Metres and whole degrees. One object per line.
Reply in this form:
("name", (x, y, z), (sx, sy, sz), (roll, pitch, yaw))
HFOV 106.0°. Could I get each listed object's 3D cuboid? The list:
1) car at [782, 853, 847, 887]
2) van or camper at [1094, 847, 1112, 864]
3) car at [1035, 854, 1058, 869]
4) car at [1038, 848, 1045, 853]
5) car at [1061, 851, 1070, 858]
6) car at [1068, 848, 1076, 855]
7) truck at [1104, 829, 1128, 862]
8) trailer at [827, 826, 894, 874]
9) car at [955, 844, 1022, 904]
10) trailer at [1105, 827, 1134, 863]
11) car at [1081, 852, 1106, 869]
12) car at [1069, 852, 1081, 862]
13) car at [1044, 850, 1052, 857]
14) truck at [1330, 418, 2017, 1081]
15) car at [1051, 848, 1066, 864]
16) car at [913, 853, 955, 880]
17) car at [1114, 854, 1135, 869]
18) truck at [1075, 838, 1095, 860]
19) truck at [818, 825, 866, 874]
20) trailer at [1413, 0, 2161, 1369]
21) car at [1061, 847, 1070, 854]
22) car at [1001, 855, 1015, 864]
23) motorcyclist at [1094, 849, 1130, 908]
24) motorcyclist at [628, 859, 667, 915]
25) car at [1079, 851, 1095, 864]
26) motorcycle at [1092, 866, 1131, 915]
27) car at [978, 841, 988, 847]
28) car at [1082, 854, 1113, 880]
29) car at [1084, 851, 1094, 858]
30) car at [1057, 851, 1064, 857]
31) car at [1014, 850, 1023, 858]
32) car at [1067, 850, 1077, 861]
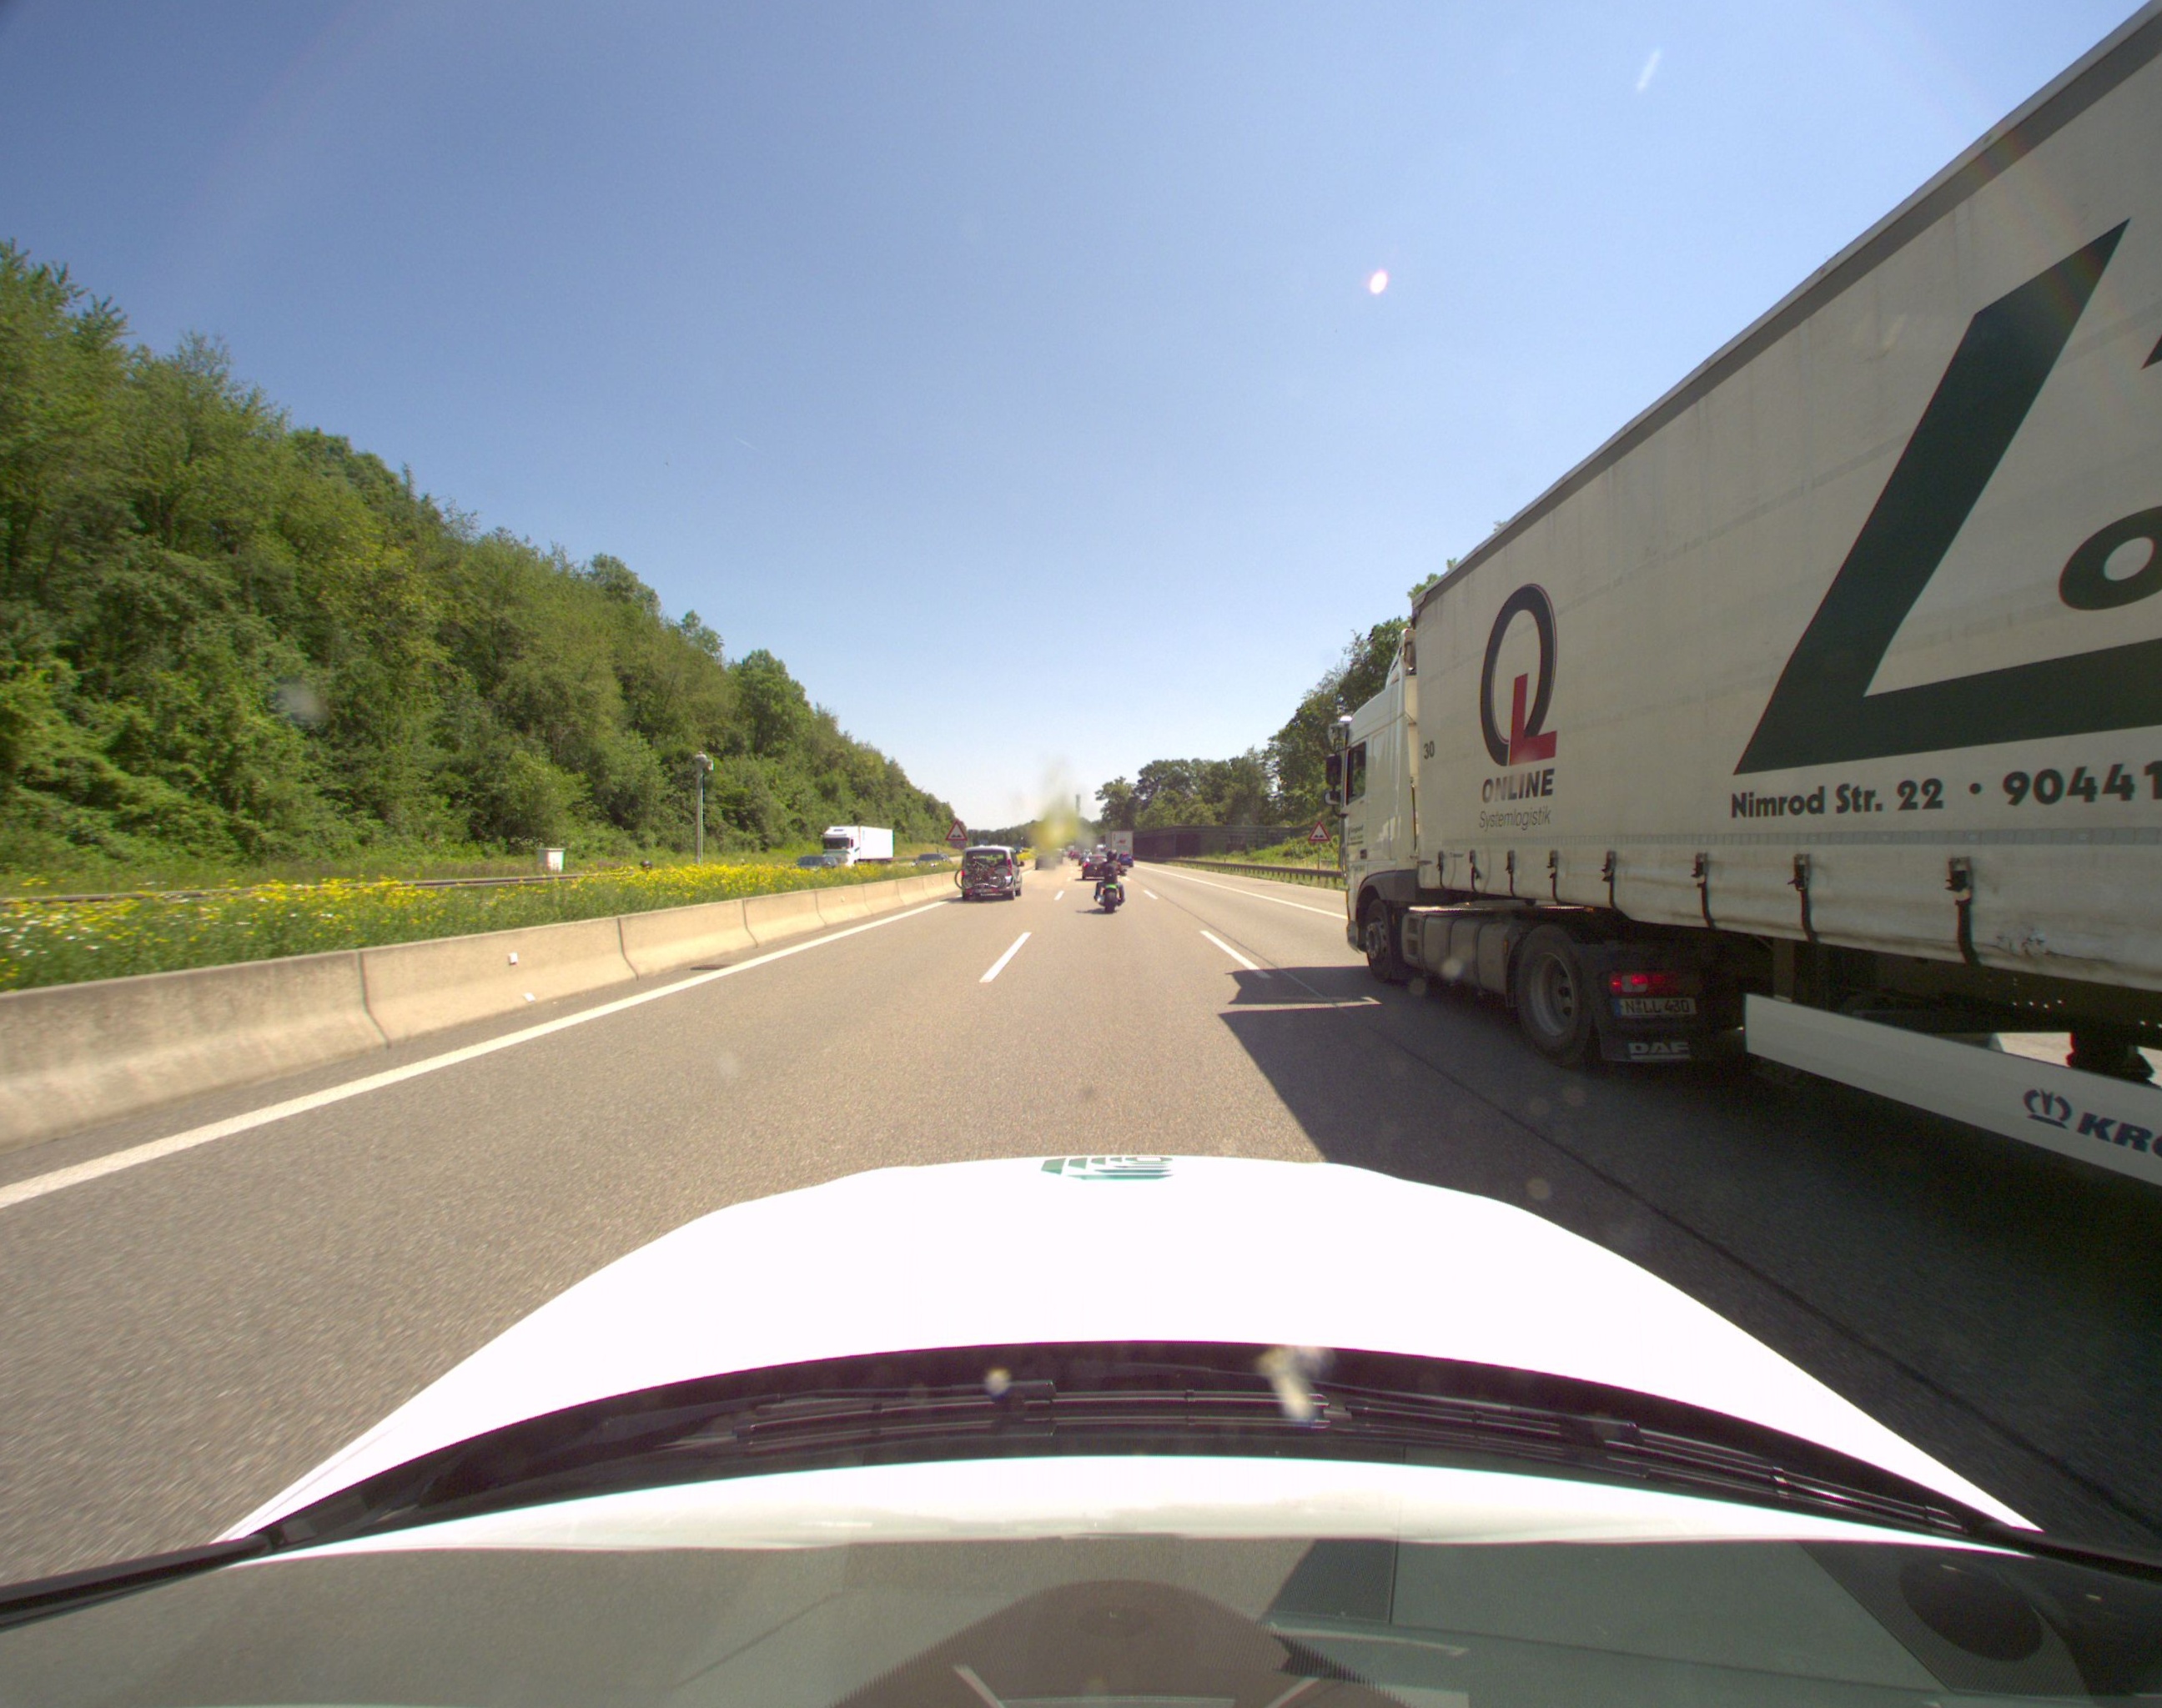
("car", (-13.610, 0.782, 41.893), (1.942, 1.642, 3.981), (-1, 0, 1))
("van or camper", (3.680, 0.231, 137.329), (2.678, 2.813, 6.797), (-1, -1, -2))
("car", (-3.167, 0.688, 75.060), (1.988, 1.387, 3.997), (-1, -1, -2))
("car", (-11.436, -1.019, 236.253), (1.829, 1.496, 3.738), (-1, -1, -4))
("car", (-3.464, 0.161, 181.896), (1.828, 1.496, 3.740), (-1, -1, -3))
("car", (-2.458, -0.794, 225.776), (2.104, 1.876, 3.993), (0, -1, -4))
("truck", (4.482, -1.100, 105.562), (2.877, 4.146, 5.984), (0, 0, 0))
("trailer", (-20.951, -0.302, 78.434), (2.707, 4.208, 13.926), (-1, -1, -1))
("car", (-3.105, 0.661, 28.079), (1.894, 1.873, 4.409), (-1, -1, -2))
("trailer", (4.550, -1.013, 98.732), (2.877, 4.038, 13.792), (0, 0, 0))
("car", (1.063, 0.565, 71.640), (1.988, 1.430, 3.845), (-1, -1, -1))
("car", (-1.005, 0.554, 137.525), (1.988, 1.640, 3.997), (-1, -1, -2))
("car", (-7.853, -0.106, 194.385), (1.828, 1.496, 3.740), (-1, -1, -3))
("truck", (4.657, -0.696, 8.132), (2.775, 4.204, 5.873), (0, 1, 2))
("car", (-2.838, 0.249, 103.799), (1.786, 2.014, 3.641), (-1, -1, 0))
("car", (-9.681, 0.792, 54.003), (1.986, 1.678, 4.081), (-1, 0, 1))
("car", (4.491, 0.739, 84.165), (1.647, 1.483, 4.475), (0, -1, -4))
("truck", (0.862, -1.133, 190.933), (3.797, 4.960, 8.934), (0, -1, -5))
("truck", (-20.846, -0.375, 71.391), (2.682, 4.090, 5.201), (-1, -1, -1))
("trailer", (4.408, -0.633, 1.429), (2.775, 4.204, 13.252), (0, 1, 2))
("car", (-4.418, -1.045, 231.263), (2.104, 1.876, 3.993), (0, -1, -4))
("car", (-12.895, 0.936, 144.390), (1.987, 1.486, 4.000), (-1, -1, 0))
("motorcyclist", (0.819, 0.637, 21.503), (0.896, 1.475, 1.873), (-1, -1, 3))
("motorcyclist", (-10.528, 0.792, 19.795), (0.620, 1.334, 0.578), (-1, 0, 2))
("car", (0.646, 0.410, 93.811), (1.774, 1.552, 3.584), (-1, -1, 0))
("motorcycle", (0.826, 0.927, 21.563), (0.961, 1.148, 2.813), (0, 0, 3))
("car", (-25.136, -2.583, 208.804), (1.988, 1.616, 4.481), (-1, 0, -1))
("car", (0.916, 0.759, 47.433), (1.657, 1.453, 3.867), (-1, -1, -1))
("car", (1.699, 0.124, 179.003), (1.988, 1.574, 3.998), (-1, -1, -1))
("car", (-5.095, -0.013, 200.953), (1.828, 1.496, 3.740), (-1, -1, -3))
("car", (-14.930, -0.014, 193.999), (1.988, 2.014, 4.417), (-1, -1, -2))
("car", (-1.860, 0.315, 163.302), (1.907, 2.014, 3.687), (-1, -1, -2))
